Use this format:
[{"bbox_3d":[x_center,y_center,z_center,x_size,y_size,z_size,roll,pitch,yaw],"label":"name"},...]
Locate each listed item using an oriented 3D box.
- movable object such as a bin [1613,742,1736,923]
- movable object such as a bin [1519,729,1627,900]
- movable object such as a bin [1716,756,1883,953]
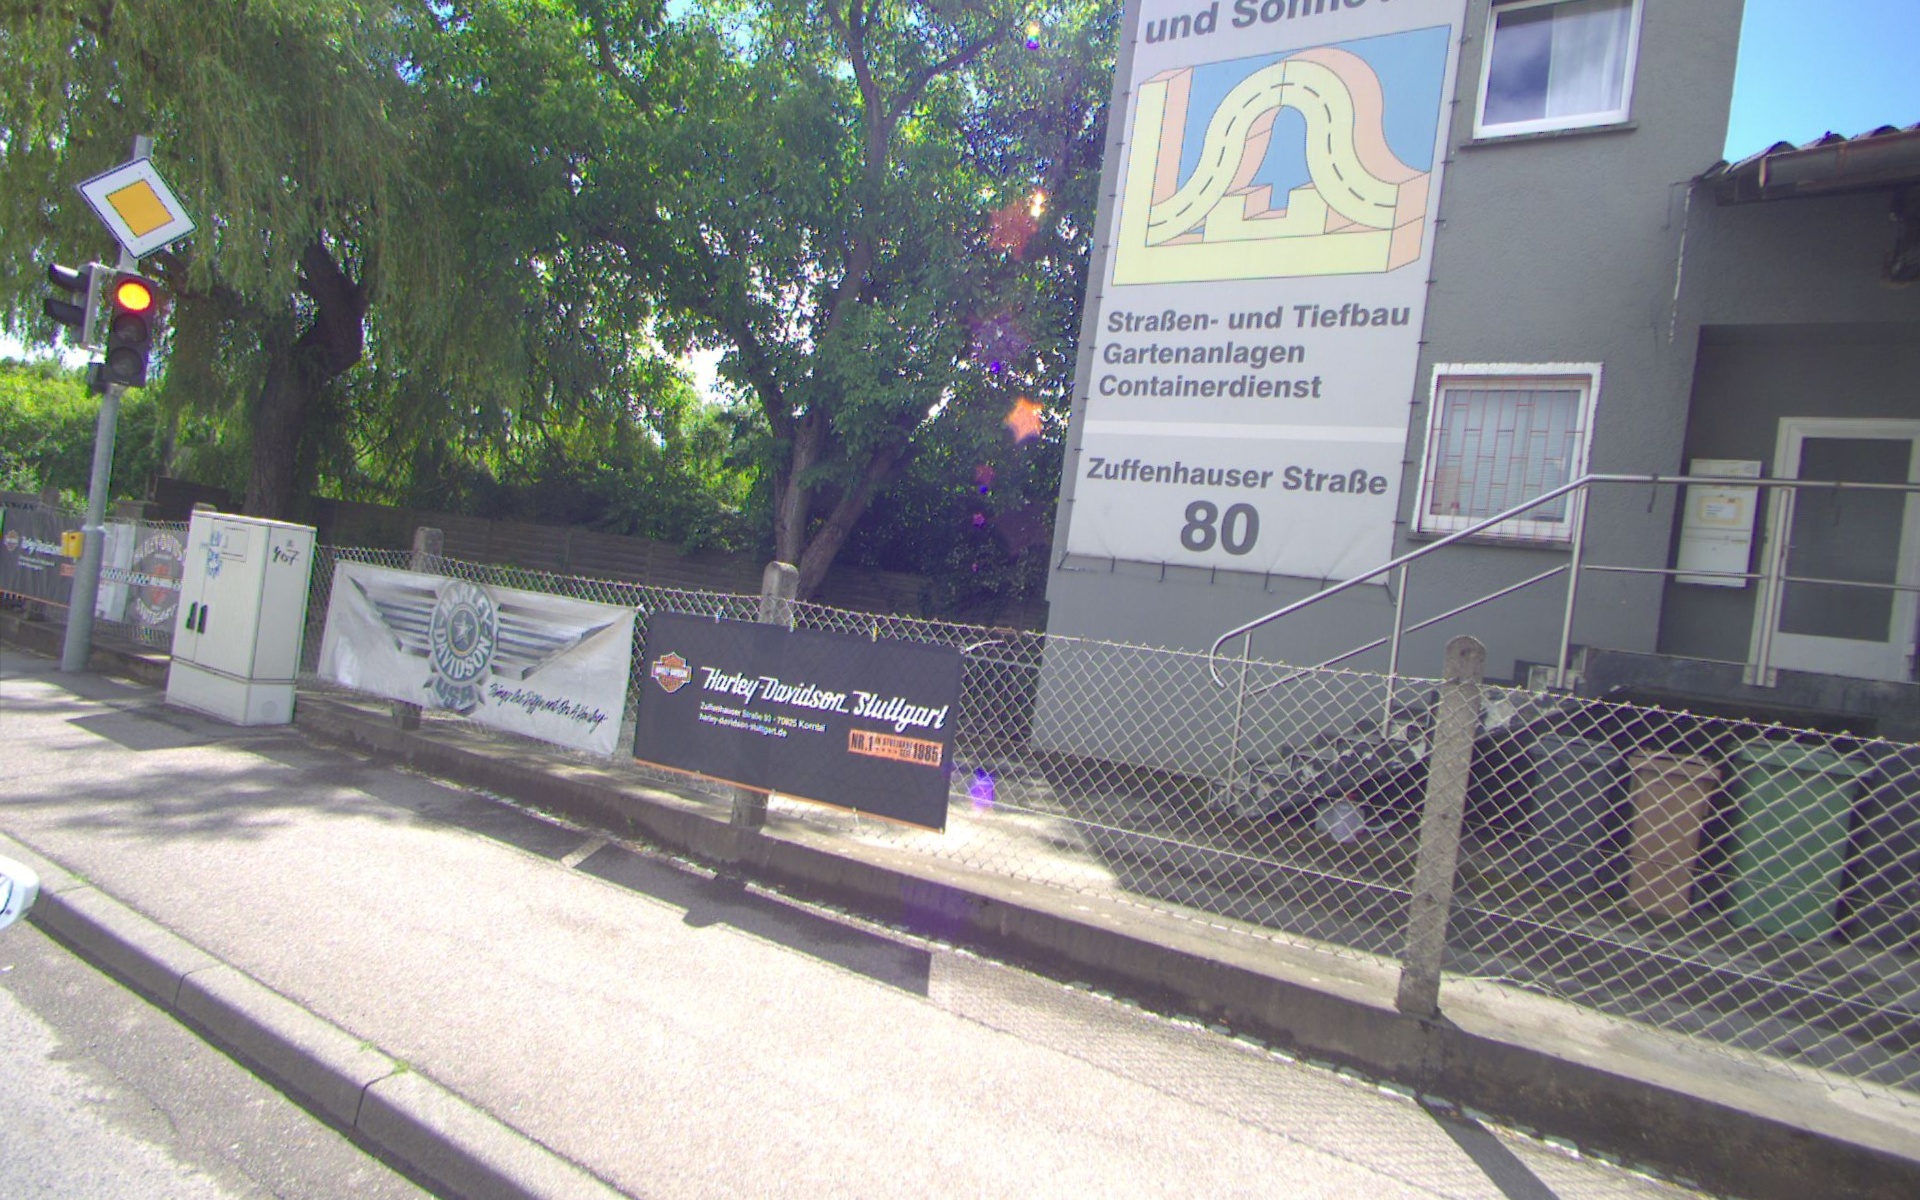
[{"bbox_3d":[4.257,1.361,6.022,0.466,0.941,0.482,7,-1,30],"label":"movable object such as a bin"},{"bbox_3d":[3.812,1.313,6.285,0.466,0.941,0.482,7,-1,30],"label":"movable object such as a bin"},{"bbox_3d":[4.753,1.416,5.732,0.574,0.941,0.482,6,-1,30],"label":"movable object such as a bin"}]
